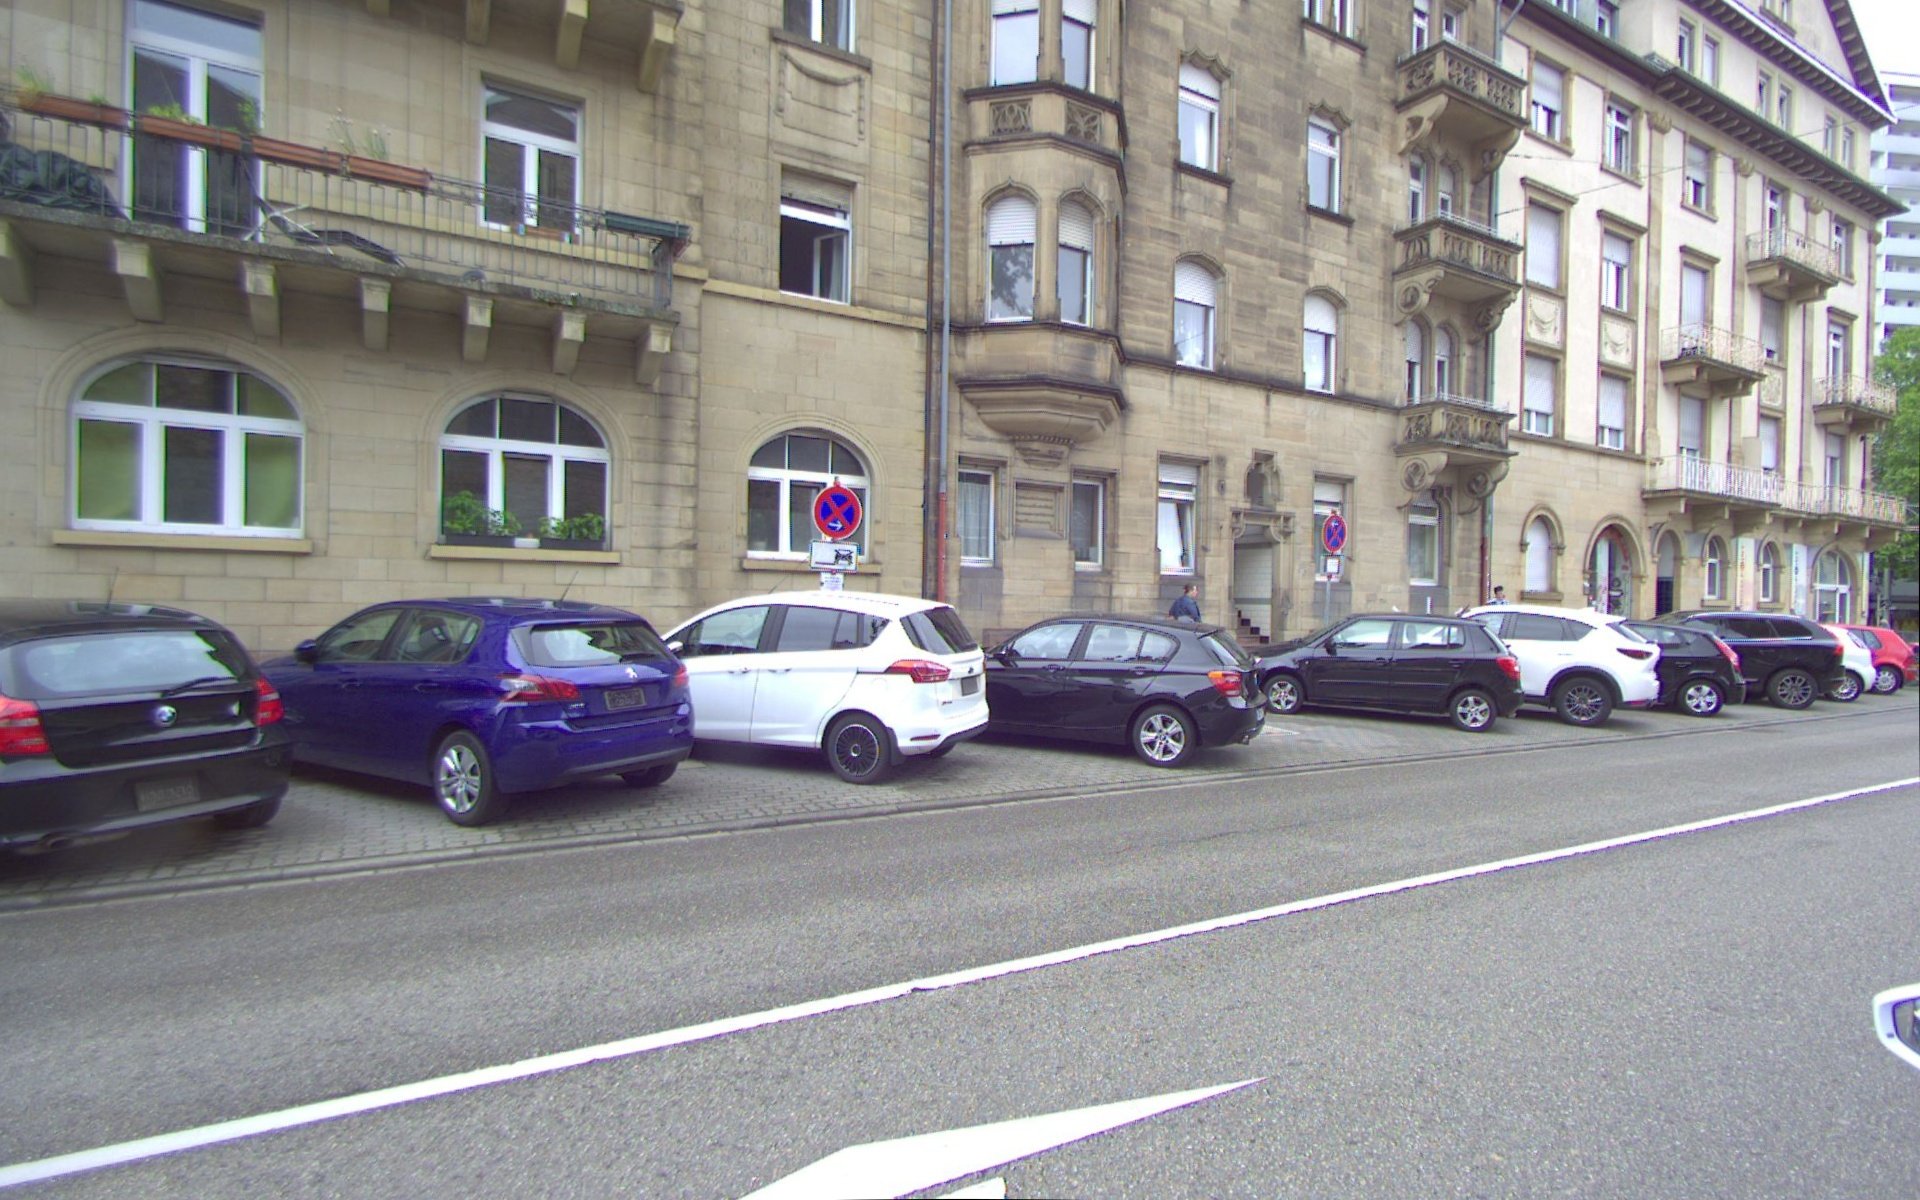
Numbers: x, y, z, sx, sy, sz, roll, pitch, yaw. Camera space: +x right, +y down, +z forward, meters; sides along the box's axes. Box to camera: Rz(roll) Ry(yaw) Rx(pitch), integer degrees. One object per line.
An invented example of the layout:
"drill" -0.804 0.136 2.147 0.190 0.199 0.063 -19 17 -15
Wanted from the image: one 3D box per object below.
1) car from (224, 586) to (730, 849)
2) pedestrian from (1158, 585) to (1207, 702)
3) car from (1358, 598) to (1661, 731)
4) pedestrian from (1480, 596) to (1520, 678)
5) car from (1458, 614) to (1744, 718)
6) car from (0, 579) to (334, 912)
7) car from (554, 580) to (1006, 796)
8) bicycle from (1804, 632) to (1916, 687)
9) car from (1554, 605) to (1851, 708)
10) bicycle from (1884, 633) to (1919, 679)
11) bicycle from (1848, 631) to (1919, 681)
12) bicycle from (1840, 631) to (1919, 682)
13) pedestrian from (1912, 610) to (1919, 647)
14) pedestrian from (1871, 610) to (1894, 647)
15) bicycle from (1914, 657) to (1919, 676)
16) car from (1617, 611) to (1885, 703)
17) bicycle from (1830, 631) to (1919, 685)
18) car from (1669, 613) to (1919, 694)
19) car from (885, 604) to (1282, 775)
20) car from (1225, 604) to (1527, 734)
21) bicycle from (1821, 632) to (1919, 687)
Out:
"car" -3.829 0.707 7.878 3.682 1.465 1.820 3 2 30
"pedestrian" 3.851 0.743 17.385 0.544 1.984 0.616 1 0 -29
"car" 8.527 0.898 15.705 3.935 1.746 1.835 2 0 36
"pedestrian" 11.986 0.812 22.289 0.544 1.809 0.564 1 0 -29
"car" 10.946 1.071 17.503 3.923 1.514 1.731 2 0 23
"car" -5.990 0.669 6.346 3.927 1.457 1.730 3 2 28
"car" -1.717 0.682 9.594 3.922 1.575 1.702 3 2 22
"bicycle" 21.305 1.394 23.831 0.436 1.050 1.879 1 4 -26
"car" 13.843 0.997 19.013 4.141 1.674 1.732 2 0 18
"bicycle" 24.304 1.474 24.932 0.437 1.050 1.876 0 6 -31
"bicycle" 23.568 1.425 25.148 0.437 1.050 1.876 0 6 -31
"bicycle" 23.045 1.395 24.795 0.437 1.050 1.876 0 6 -31
"pedestrian" 47.138 1.411 49.126 0.718 1.795 0.671 1 0 -30
"pedestrian" 45.934 1.412 50.023 0.718 1.795 0.671 1 0 -30
"bicycle" 25.341 1.796 25.170 1.017 0.451 1.876 -1 6 -31
"car" 15.991 1.100 20.532 3.920 1.492 1.564 3 3 18
"bicycle" 22.491 1.404 24.446 0.437 1.050 1.876 0 6 -31
"car" 18.297 1.138 22.181 3.919 1.492 1.684 2 2 12
"car" 1.326 0.843 10.919 3.924 1.436 1.660 2 1 25
"car" 5.847 0.906 14.415 3.738 1.517 1.569 3 1 22
"bicycle" 22.042 1.411 24.164 0.437 1.050 1.876 0 6 -31
